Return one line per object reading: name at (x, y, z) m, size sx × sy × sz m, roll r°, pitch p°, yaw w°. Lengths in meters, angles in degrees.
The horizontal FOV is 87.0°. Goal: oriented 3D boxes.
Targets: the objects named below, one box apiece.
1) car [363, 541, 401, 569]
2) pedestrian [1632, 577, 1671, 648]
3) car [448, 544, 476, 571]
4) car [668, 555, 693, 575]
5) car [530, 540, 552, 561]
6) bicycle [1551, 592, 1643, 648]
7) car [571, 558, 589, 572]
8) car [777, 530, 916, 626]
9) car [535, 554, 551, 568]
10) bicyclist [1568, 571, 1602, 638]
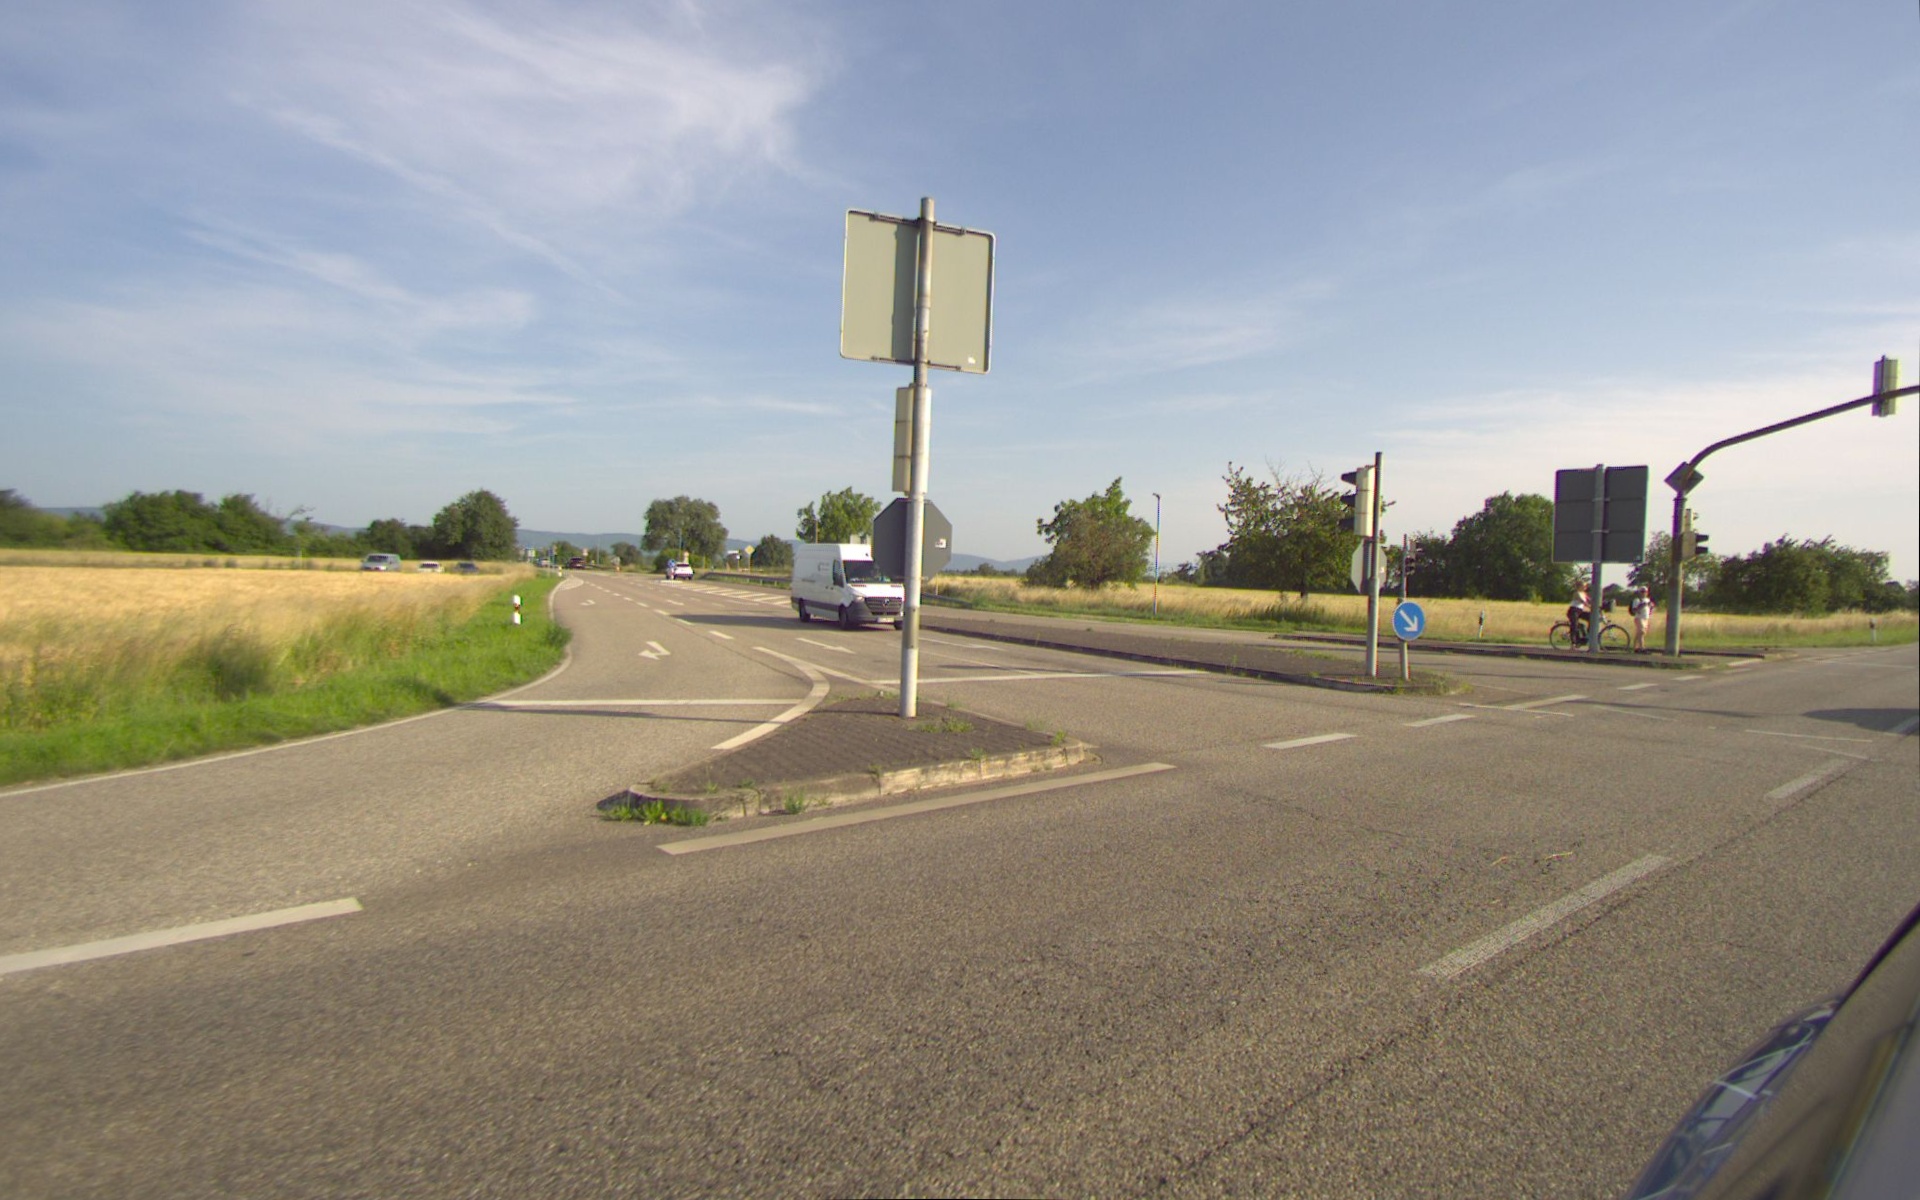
car at (-44.067, -3.386, 77.251) m, size 1.808 × 1.972 × 4.008 m, roll 0°, pitch 0°, yaw -19°
pedestrian at (17.585, 0.300, 25.736) m, size 0.586 × 1.773 × 0.624 m, roll 0°, pitch 0°, yaw -30°
car at (-39.680, -3.366, 80.719) m, size 1.808 × 1.972 × 4.007 m, roll 0°, pitch 0°, yaw -24°
car at (-25.009, -3.143, 90.425) m, size 1.698 × 1.683 × 4.008 m, roll 0°, pitch 0°, yaw -22°
car at (-39.033, -4.627, 94.340) m, size 1.808 × 1.776 × 4.008 m, roll 0°, pitch 0°, yaw -20°
bicycle at (15.658, 0.469, 24.902) m, size 0.519 × 1.305 × 1.858 m, roll 0°, pitch 0°, yaw -37°
car at (-49.971, -4.532, 132.953) m, size 1.727 × 1.738 × 3.770 m, roll 0°, pitch 0°, yaw -28°
car at (-3.788, -0.744, 32.176) m, size 2.049 × 2.702 × 7.229 m, roll 0°, pitch 2°, yaw -26°
car at (-61.874, -5.751, 150.278) m, size 1.958 × 2.039 × 4.008 m, roll 0°, pitch 0°, yaw -20°
bicyclist at (15.538, 0.112, 25.158) m, size 0.494 × 1.632 × 0.560 m, roll 0°, pitch 0°, yaw -34°
